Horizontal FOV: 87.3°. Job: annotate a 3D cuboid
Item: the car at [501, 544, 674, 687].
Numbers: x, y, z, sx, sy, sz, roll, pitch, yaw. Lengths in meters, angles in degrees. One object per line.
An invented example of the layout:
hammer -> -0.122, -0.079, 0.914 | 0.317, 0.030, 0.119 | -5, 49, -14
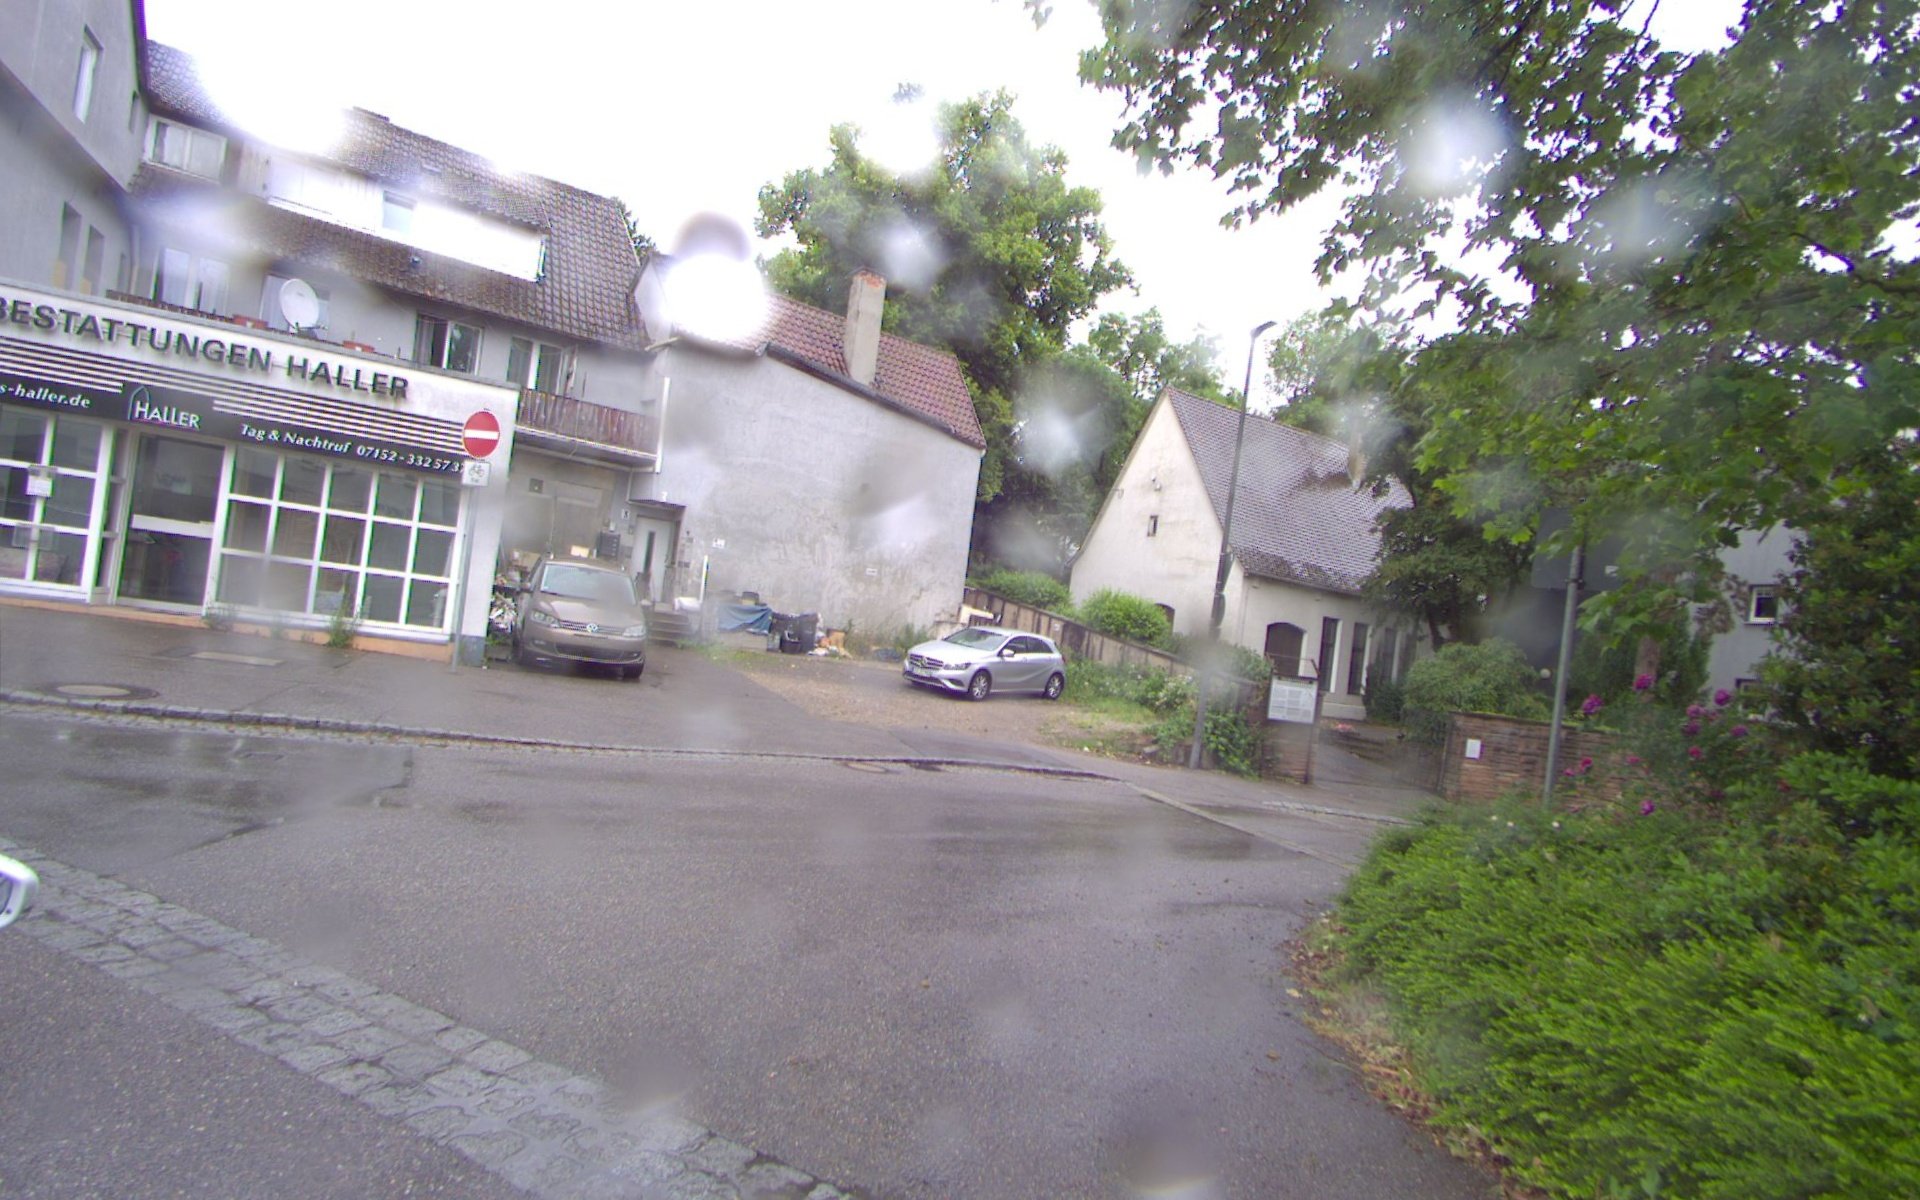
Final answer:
car -> -6.274, 0.146, 16.559 | 1.908, 1.749, 4.633 | 8, 0, -28

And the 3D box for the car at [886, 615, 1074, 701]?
car -> 0.517, 1.270, 21.392 | 1.717, 1.406, 4.022 | 10, 2, 40
